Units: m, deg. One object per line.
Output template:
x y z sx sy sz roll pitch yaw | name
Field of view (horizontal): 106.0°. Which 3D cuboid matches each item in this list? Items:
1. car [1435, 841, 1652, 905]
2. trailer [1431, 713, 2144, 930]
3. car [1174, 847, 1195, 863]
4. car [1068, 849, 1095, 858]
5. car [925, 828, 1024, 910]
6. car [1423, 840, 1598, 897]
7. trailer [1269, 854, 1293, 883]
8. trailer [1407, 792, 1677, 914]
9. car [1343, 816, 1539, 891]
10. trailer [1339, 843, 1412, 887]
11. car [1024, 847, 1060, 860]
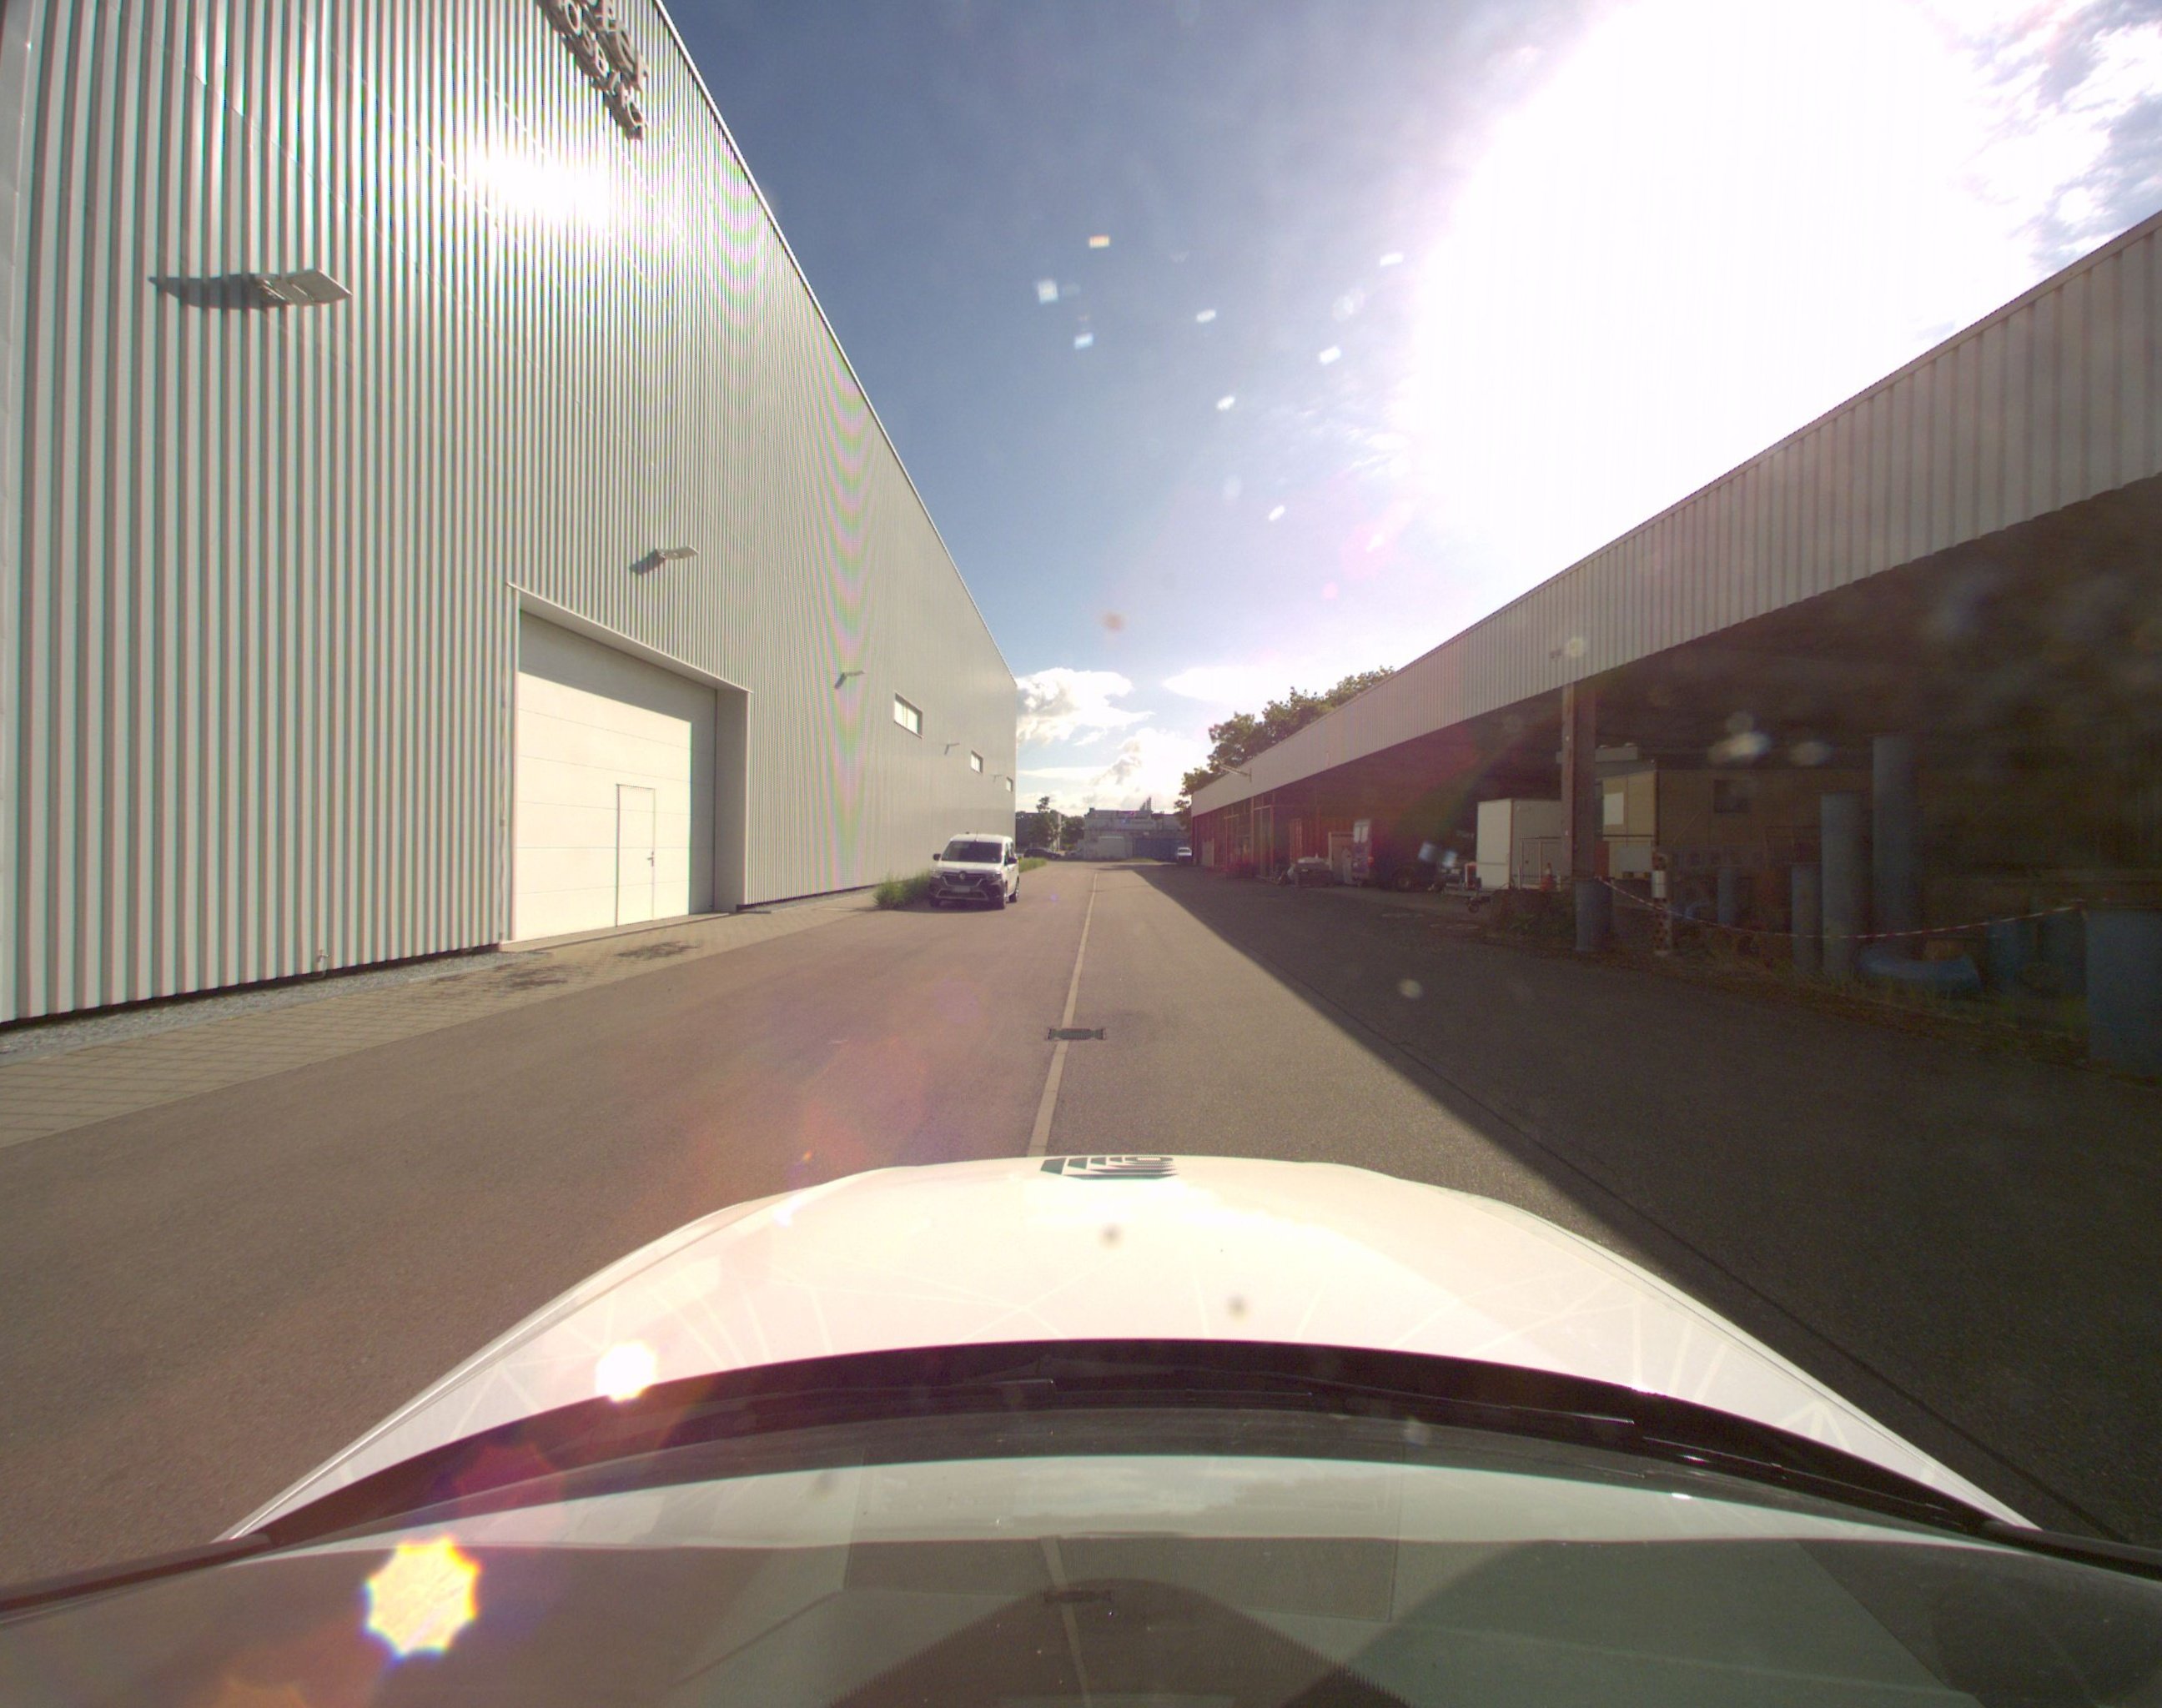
11.073 0.425 19.684 4.237 1.471 1.869 0 0 -2 | car
12.021 -0.529 14.613 10.230 3.343 2.802 -1 0 1 | trailer
11.411 0.086 90.238 1.971 1.602 4.381 -1 1 3 | car
0.059 -0.103 130.769 4.288 1.457 1.824 -1 0 0 | car
-2.588 0.344 20.917 1.777 1.816 4.603 2 0 1 | car
11.921 0.391 22.758 3.953 1.514 1.839 0 0 -2 | car
7.778 0.550 31.698 0.550 1.118 1.546 -1 0 0 | trailer
9.529 -0.009 17.148 4.498 2.342 2.048 -1 0 2 | trailer
11.324 -0.020 25.921 5.314 2.281 2.153 0 0 0 | car
10.275 0.366 28.551 2.028 1.466 1.741 -1 0 5 | trailer
-4.880 -0.083 102.934 4.432 1.531 1.824 -1 0 0 | car
